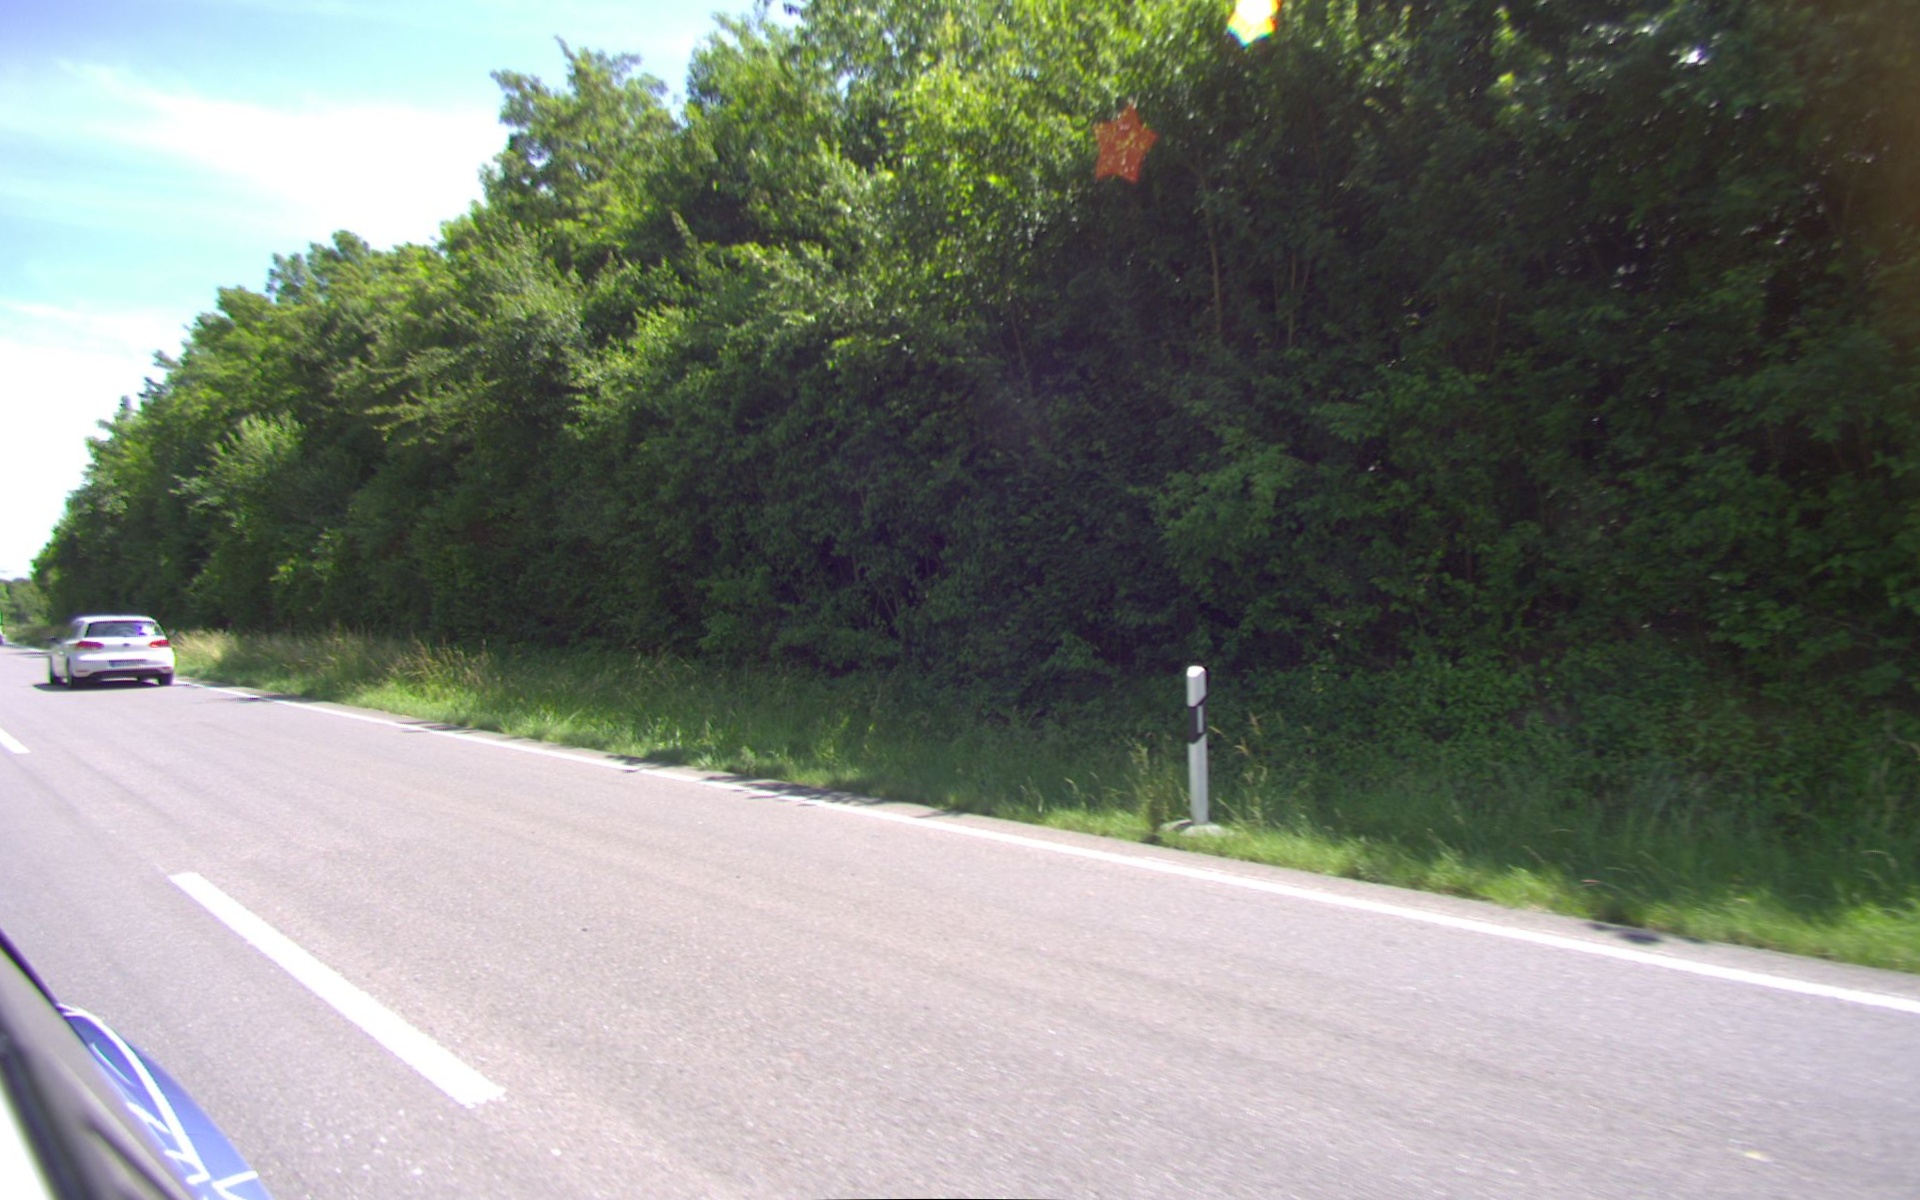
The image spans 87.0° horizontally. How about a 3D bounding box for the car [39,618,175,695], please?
[{"bbox_3d":[-18.500,1.147,21.885,4.166,1.490,1.726,-1,-1,42],"label":"car"}]
